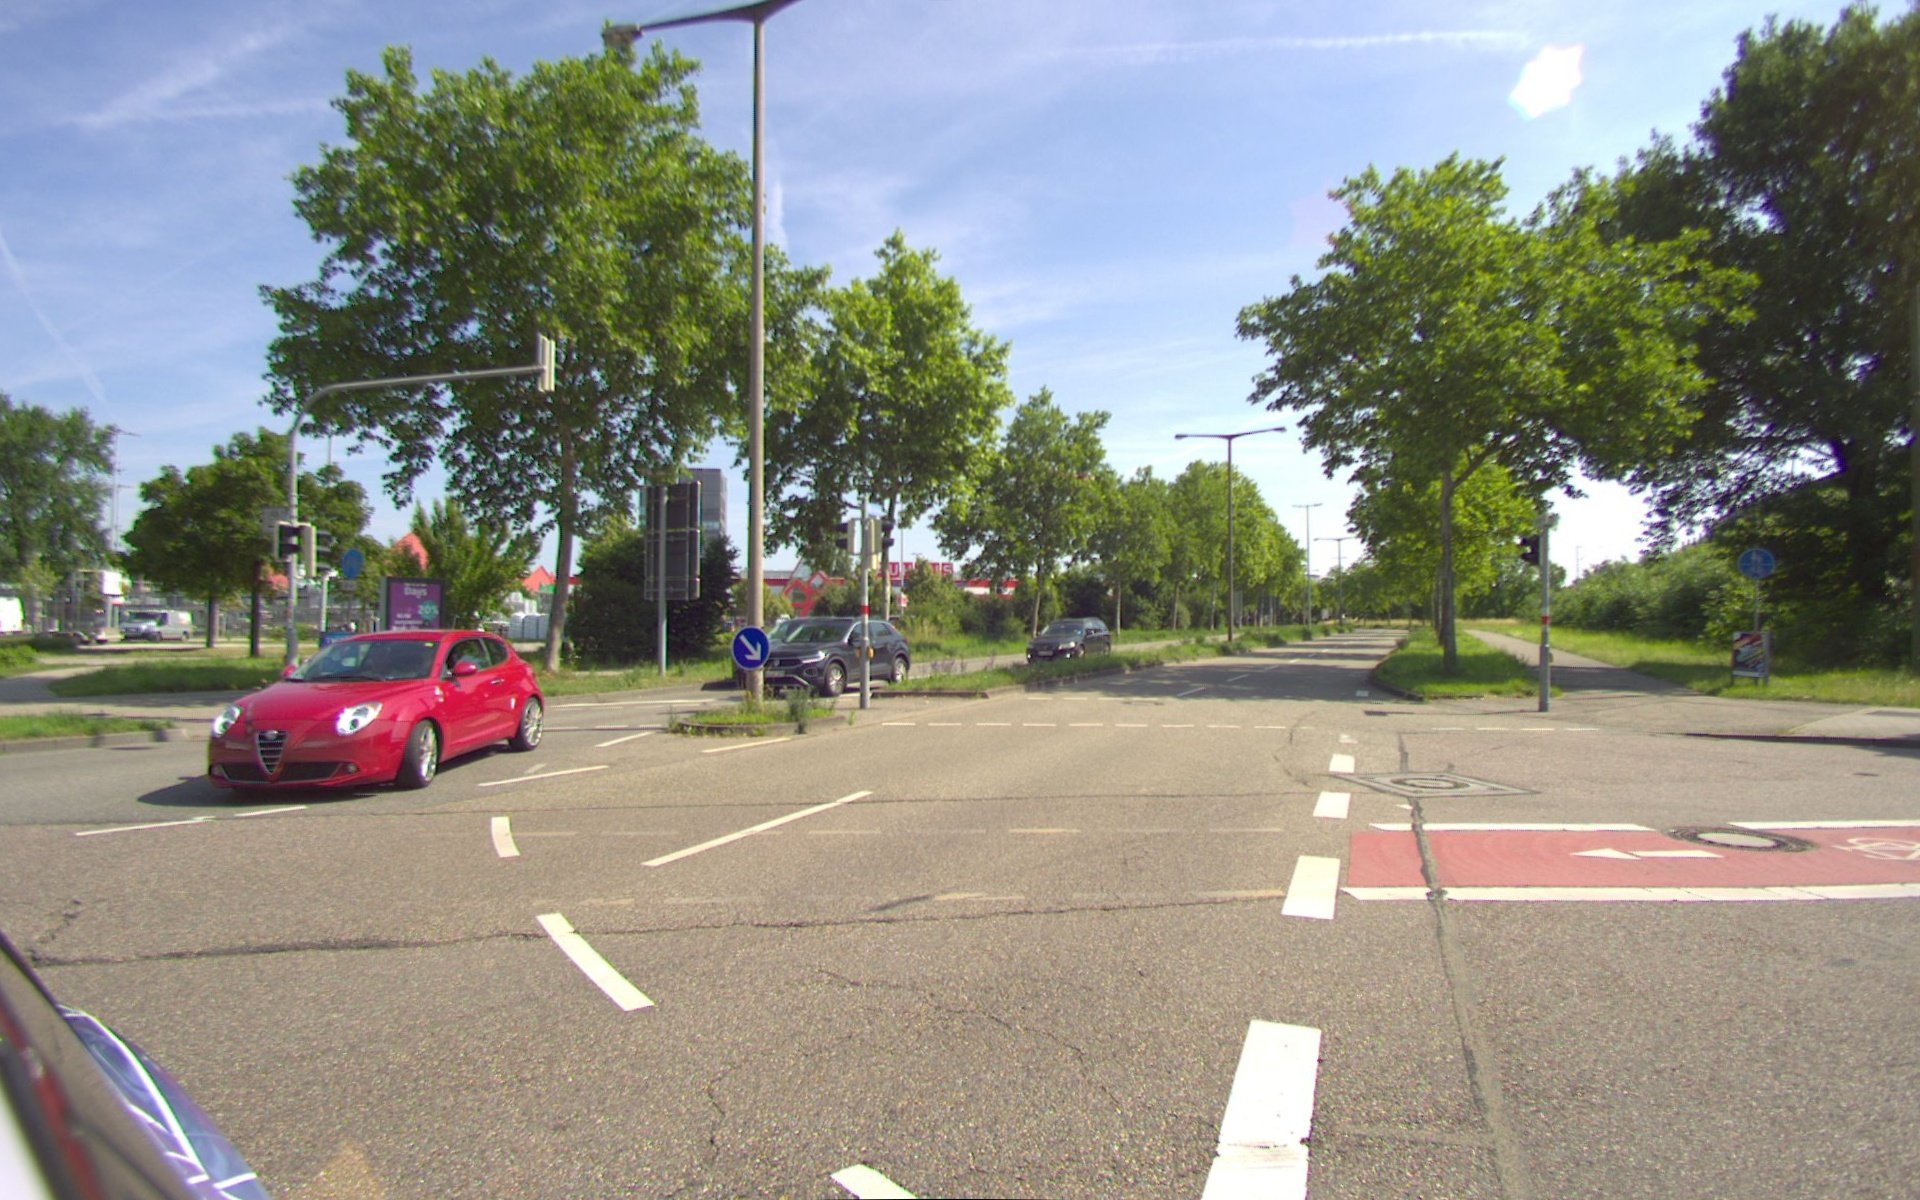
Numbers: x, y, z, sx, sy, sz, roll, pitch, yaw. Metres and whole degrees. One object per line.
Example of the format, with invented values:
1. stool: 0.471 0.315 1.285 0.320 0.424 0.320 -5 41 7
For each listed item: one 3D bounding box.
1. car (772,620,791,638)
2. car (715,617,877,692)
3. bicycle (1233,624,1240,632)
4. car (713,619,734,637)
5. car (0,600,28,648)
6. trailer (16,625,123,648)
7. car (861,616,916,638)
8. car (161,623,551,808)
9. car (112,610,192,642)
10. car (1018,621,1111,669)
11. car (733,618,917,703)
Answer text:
1. car: -16.454 2.619 93.089 1.663 1.586 4.008 0 -1 -10
2. car: -3.955 1.294 25.181 1.761 1.671 4.458 -3 -2 25
3. bicycle: 42.628 4.300 156.034 0.683 1.247 1.917 -1 -1 25
4. car: -21.630 2.583 92.608 1.663 1.586 4.008 0 -1 -10
5. car: -54.460 1.289 54.840 5.595 2.561 2.024 0 1 -12
6. trailer: -49.017 2.009 55.797 3.967 1.131 2.073 0 1 -8
7. car: -5.251 1.946 74.245 3.798 1.597 1.854 0 -1 -12
8. car: -5.717 0.999 10.200 1.636 1.449 3.908 -2 -2 -1
9. car: -49.457 1.623 62.078 1.844 1.830 4.842 2 -2 -12
10. car: 3.594 1.466 33.968 1.708 1.439 4.539 -3 -2 25
11. car: -2.665 1.165 20.928 1.865 1.557 4.046 -1 -1 25
